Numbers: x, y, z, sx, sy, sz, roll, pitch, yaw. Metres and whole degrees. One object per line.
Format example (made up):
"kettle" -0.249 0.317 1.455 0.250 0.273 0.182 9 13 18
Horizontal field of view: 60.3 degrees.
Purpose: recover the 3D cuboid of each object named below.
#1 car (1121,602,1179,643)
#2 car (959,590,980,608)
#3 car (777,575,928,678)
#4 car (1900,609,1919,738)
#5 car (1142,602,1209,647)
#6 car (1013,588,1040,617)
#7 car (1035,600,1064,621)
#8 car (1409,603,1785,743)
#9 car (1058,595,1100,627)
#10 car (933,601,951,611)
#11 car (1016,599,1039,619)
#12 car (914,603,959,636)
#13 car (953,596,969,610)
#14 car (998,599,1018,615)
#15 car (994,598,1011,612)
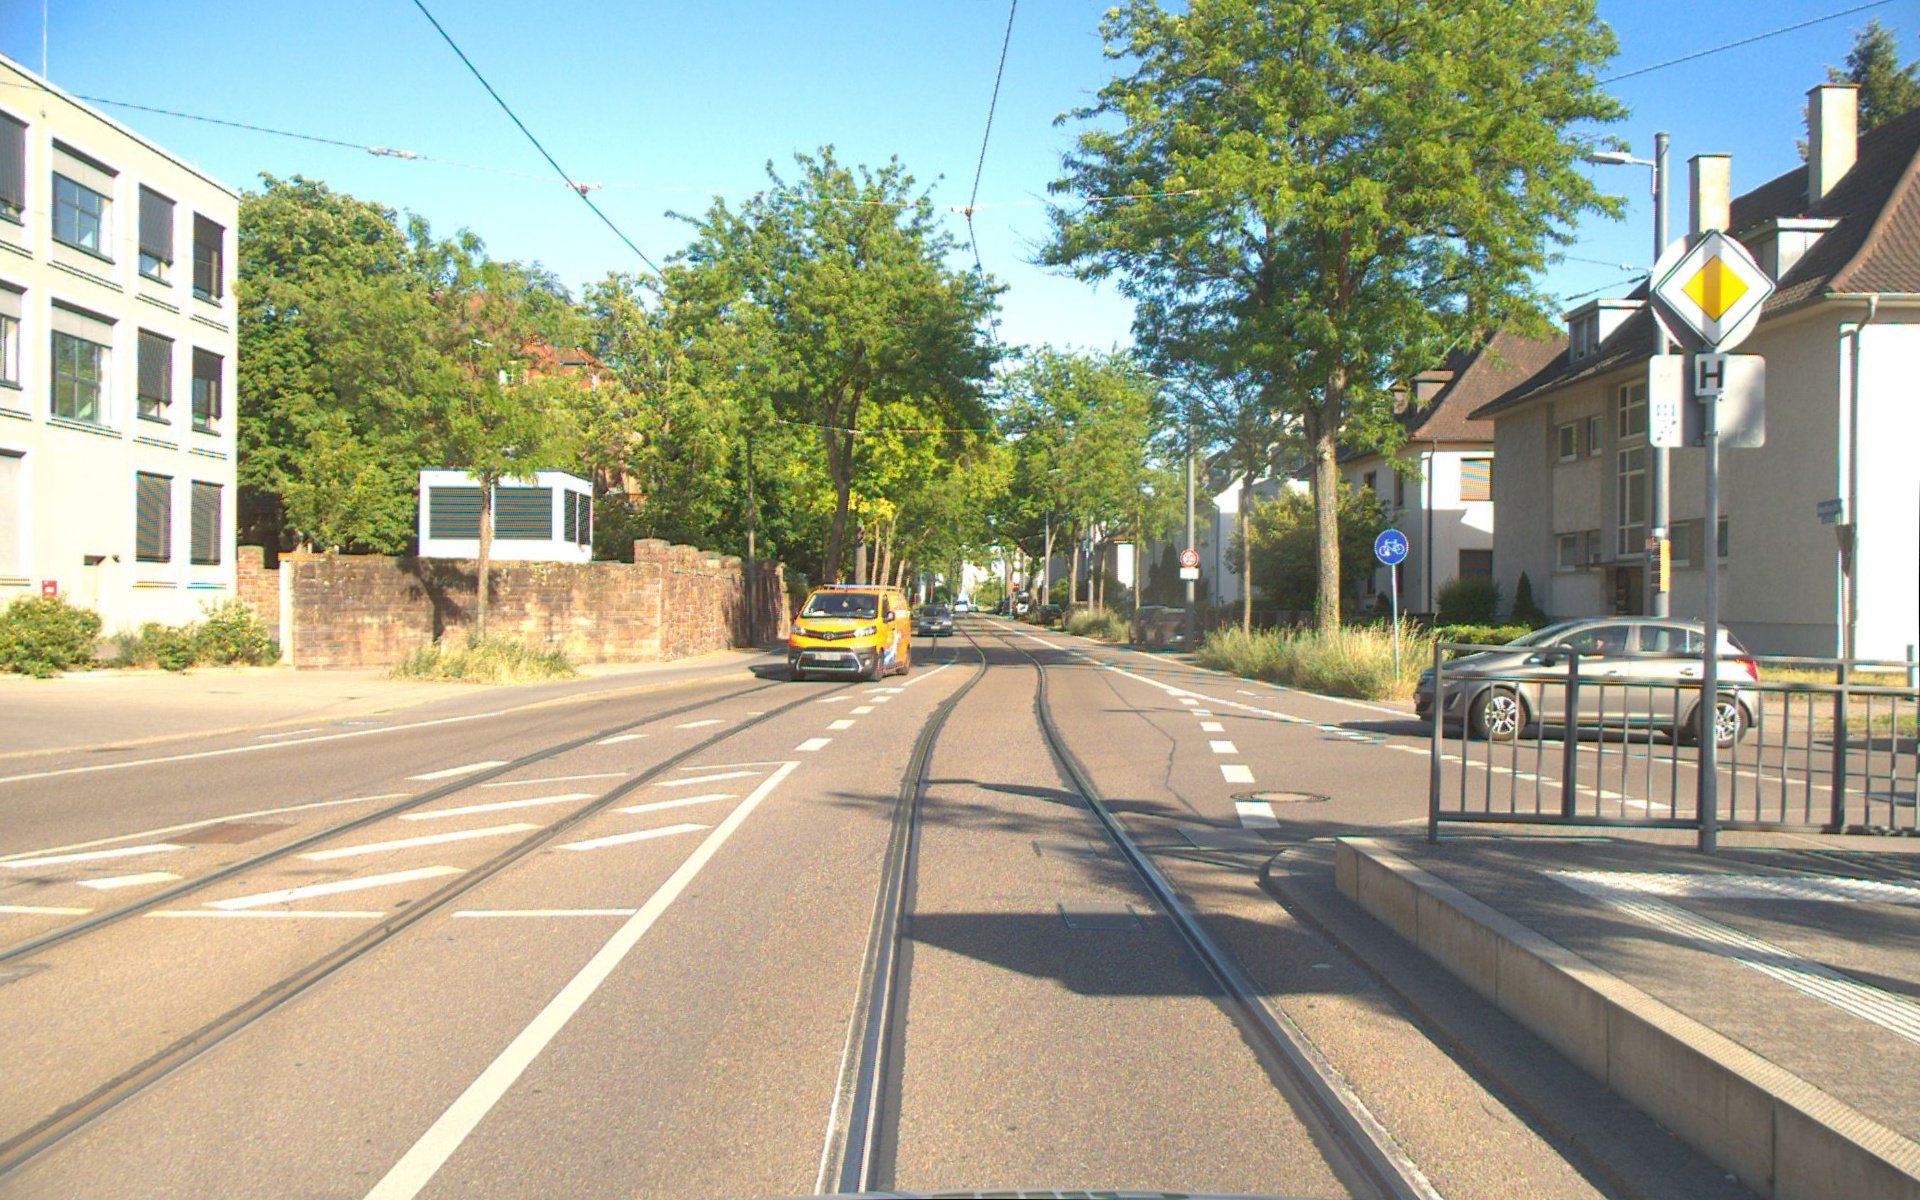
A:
"car" 7.415 0.862 64.814 1.713 1.521 3.996 -1 0 -1
"car" 1.377 -0.155 233.353 1.959 2.501 4.493 0 0 -14
"car" -2.155 0.523 34.725 1.951 2.000 4.938 0 0 11
"car" 13.325 0.839 18.462 4.505 1.492 1.983 0 -2 8
"car" 7.640 0.835 58.982 1.713 1.521 4.442 -1 0 -1
"car" 6.216 0.220 155.039 2.200 2.700 5.584 0 0 -1
"car" 6.693 0.752 123.896 1.748 1.473 4.299 -3 0 -2
"car" 7.548 0.828 19.989 3.902 1.534 1.984 1 0 9
"car" 7.002 0.623 97.389 1.953 1.734 4.476 -3 0 -2
"car" -2.870 0.965 258.424 1.968 1.588 4.377 0 0 -13
"car" 5.464 0.715 133.649 1.594 1.422 3.644 -3 0 -1
"car" -1.135 0.928 81.111 1.952 1.551 4.581 0 0 2
"car" 0.128 0.373 202.664 1.827 1.704 4.174 0 0 2
"car" 5.392 0.765 187.159 1.962 1.704 4.391 -2 0 -1
"car" 5.321 0.639 204.669 1.961 1.704 4.394 -2 0 3
